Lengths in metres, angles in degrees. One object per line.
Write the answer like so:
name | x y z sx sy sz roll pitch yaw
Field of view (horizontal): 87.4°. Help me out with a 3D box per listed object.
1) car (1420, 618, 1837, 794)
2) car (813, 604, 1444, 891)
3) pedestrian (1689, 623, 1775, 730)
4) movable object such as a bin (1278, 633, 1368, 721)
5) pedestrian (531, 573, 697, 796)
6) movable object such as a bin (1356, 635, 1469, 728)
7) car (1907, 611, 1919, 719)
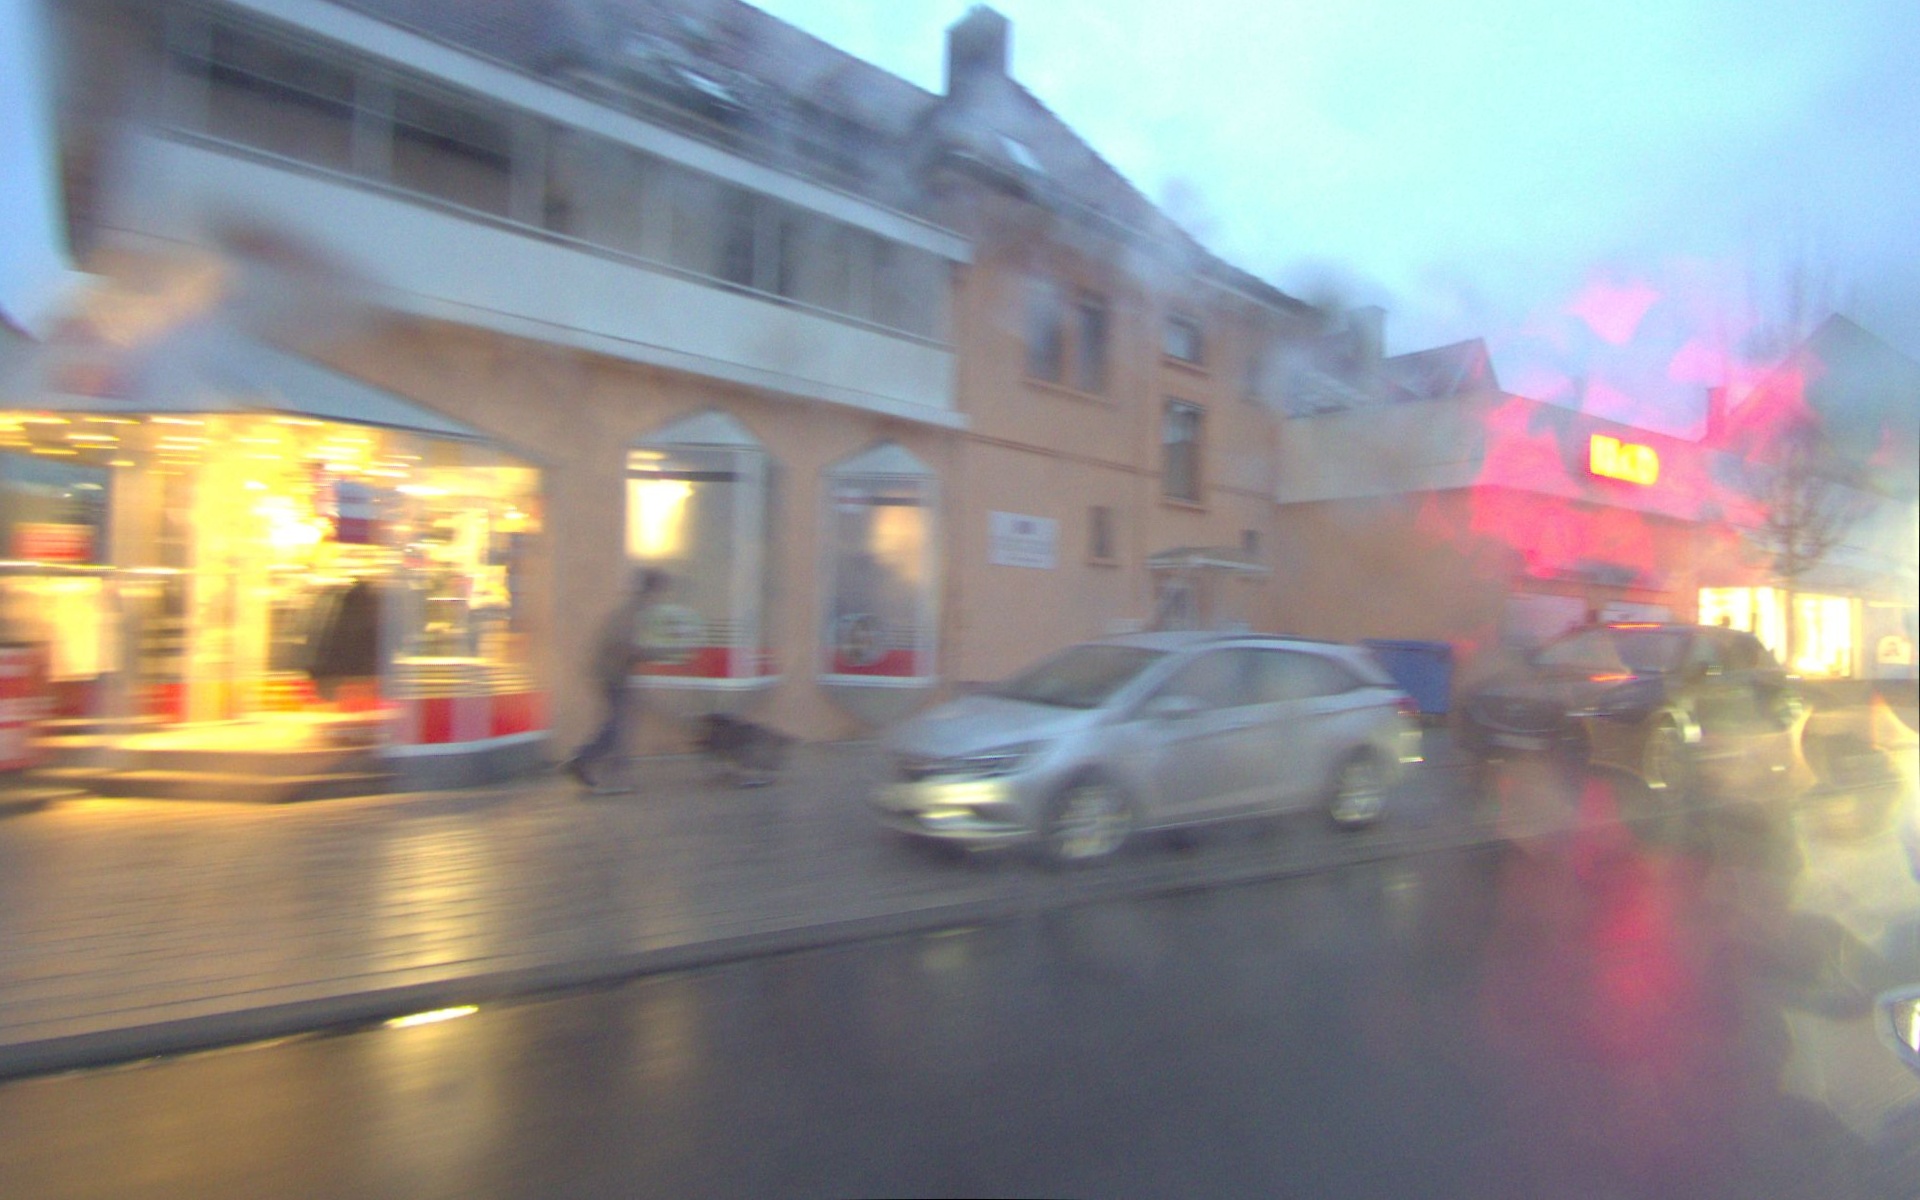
car | 7.484 1.036 11.101 4.922 1.542 1.983 2 -1 -32
car | 1.394 0.895 7.679 4.568 1.579 1.983 2 0 -31
pedestrian | 14.283 1.390 18.589 1.000 1.901 0.935 2 -1 -30
movable object such as a bin | 6.064 1.257 16.806 0.845 1.372 1.140 2 -1 -41
pedestrian | -2.831 0.644 8.210 1.085 1.680 0.821 2 0 -32
movable object such as a bin | 7.014 1.257 15.604 0.882 1.371 1.329 3 -5 -40
car | 18.723 1.152 17.704 4.976 1.816 2.071 1 0 -36
